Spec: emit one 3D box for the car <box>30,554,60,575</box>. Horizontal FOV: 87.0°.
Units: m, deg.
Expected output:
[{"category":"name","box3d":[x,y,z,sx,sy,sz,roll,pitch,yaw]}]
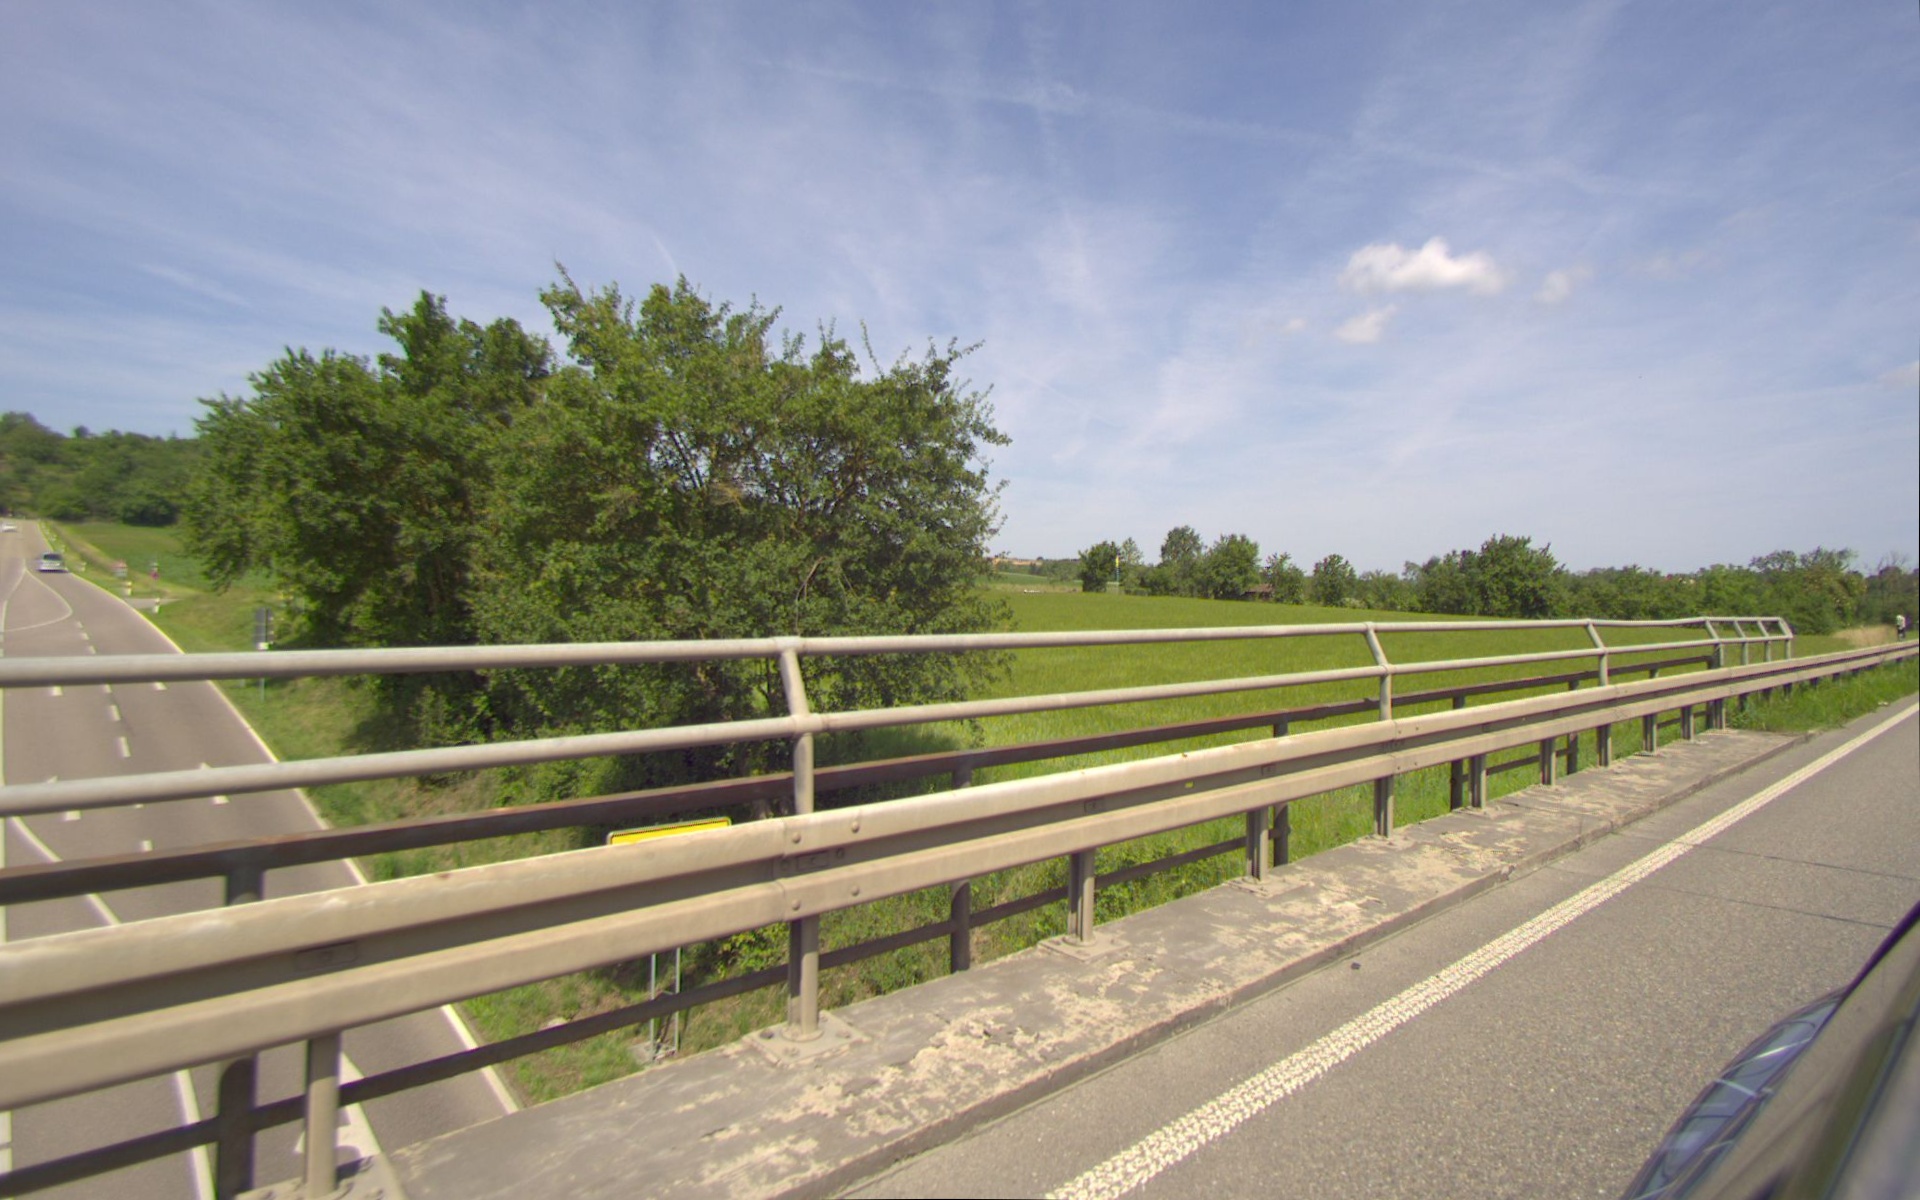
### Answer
[{"category":"car","box3d":[-82.228,-3.217,90.935,3.990,1.568,1.782,7,4,44]}]
